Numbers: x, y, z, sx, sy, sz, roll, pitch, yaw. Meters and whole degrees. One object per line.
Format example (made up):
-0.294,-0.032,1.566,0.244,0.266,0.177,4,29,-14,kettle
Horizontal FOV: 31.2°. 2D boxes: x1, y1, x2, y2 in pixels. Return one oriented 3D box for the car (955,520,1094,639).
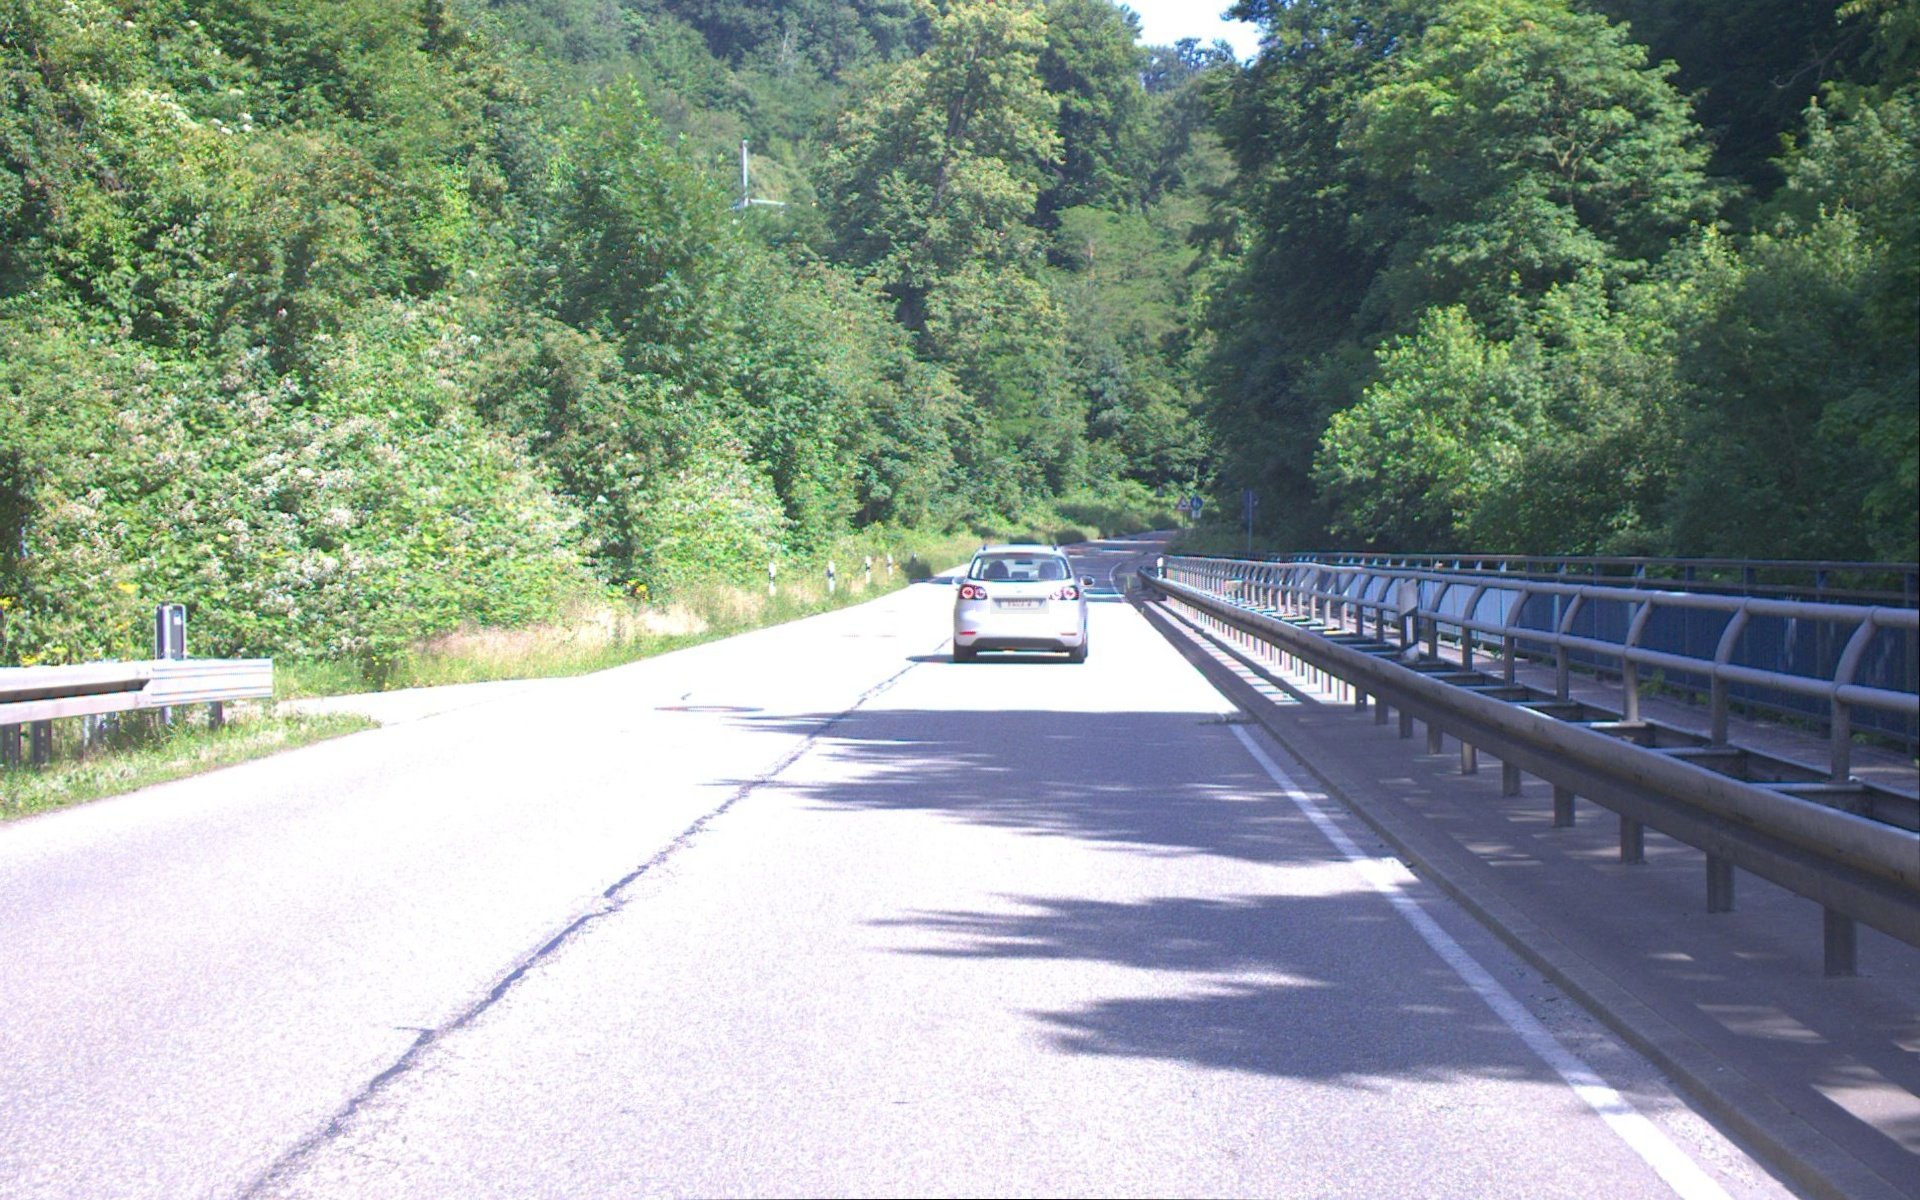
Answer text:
0.906,-0.276,46.237,1.751,1.515,4.159,1,0,2,car
